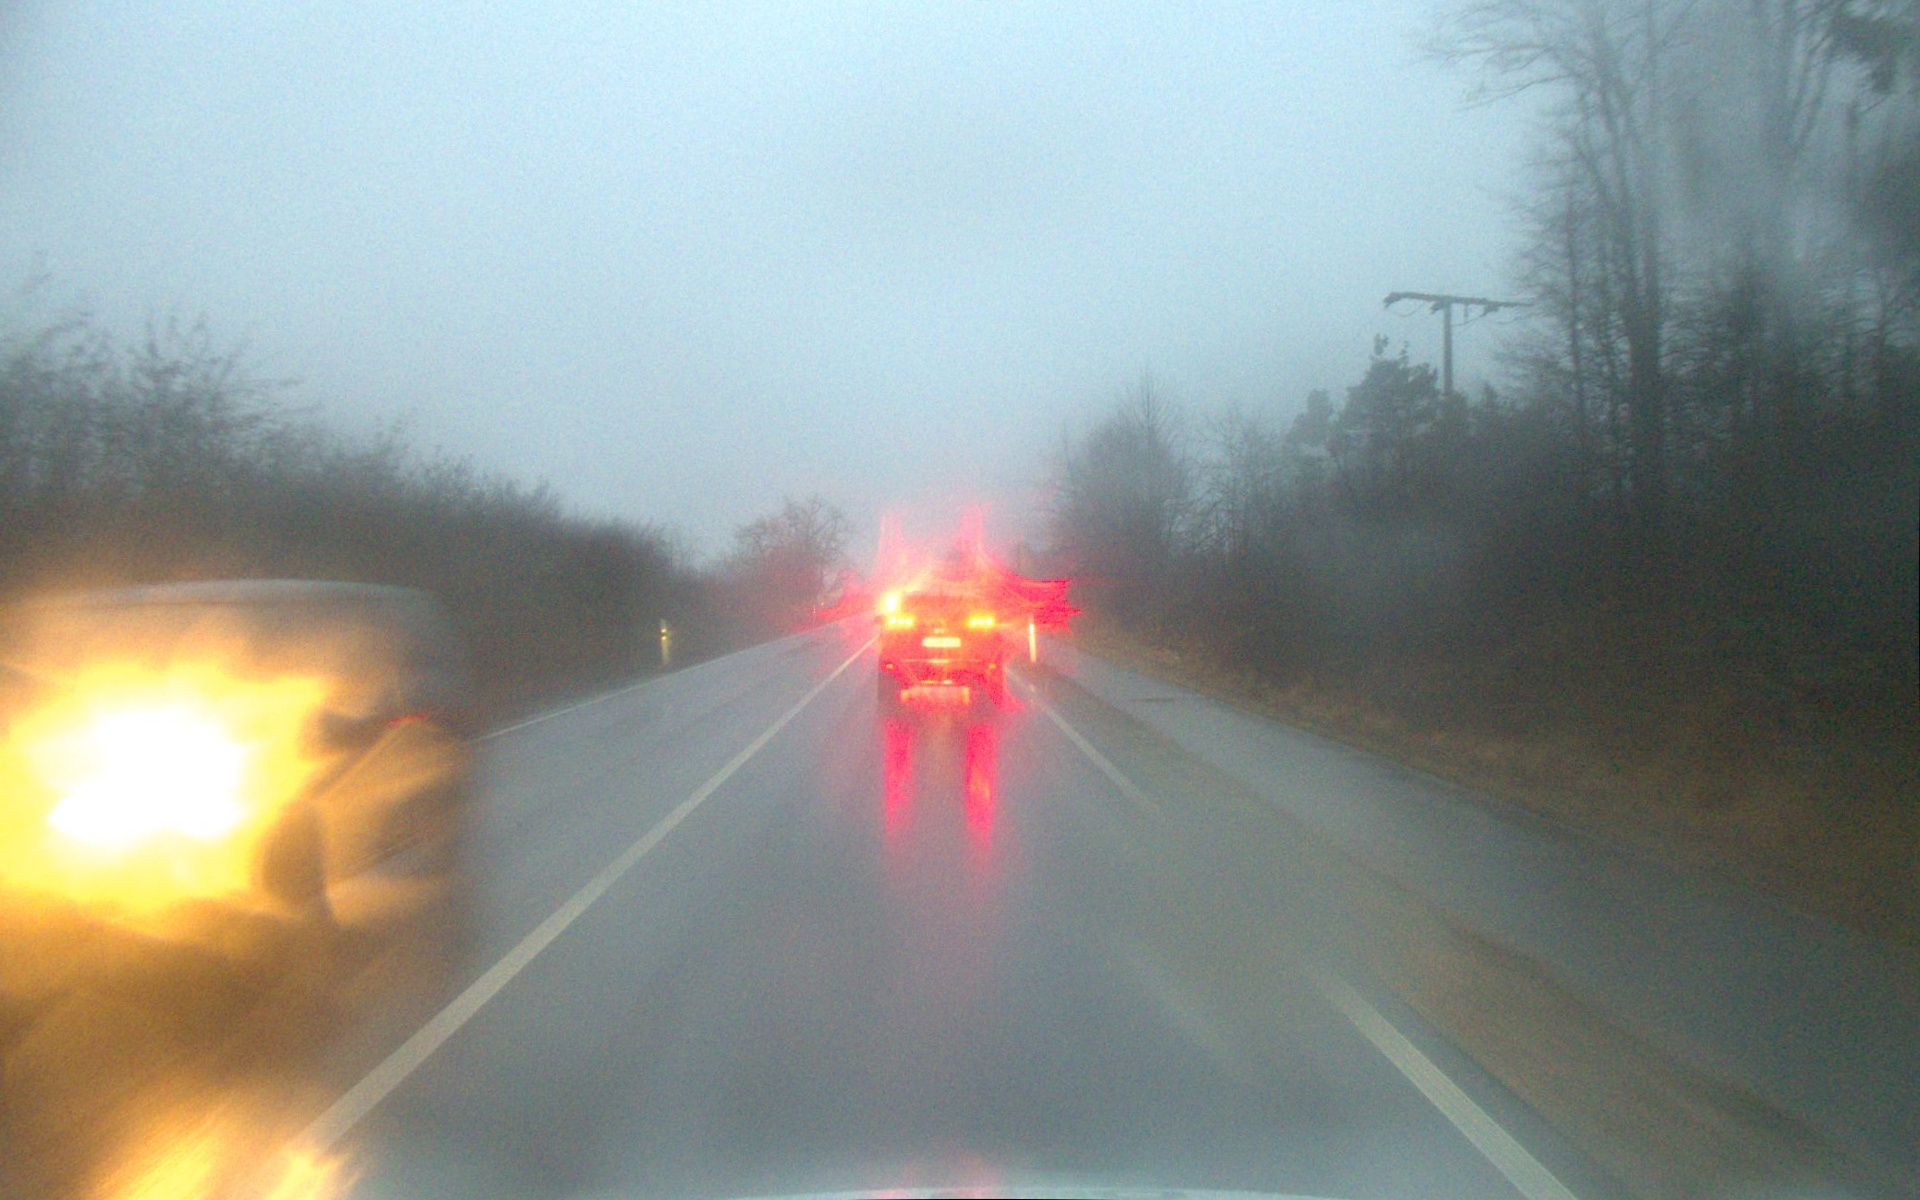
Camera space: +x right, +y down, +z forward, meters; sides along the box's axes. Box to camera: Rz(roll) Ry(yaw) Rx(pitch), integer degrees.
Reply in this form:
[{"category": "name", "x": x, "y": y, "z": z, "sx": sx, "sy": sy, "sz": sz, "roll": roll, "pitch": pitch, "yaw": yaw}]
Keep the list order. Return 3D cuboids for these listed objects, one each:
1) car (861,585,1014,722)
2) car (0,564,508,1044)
[{"category": "car", "x": -0.350, "y": 0.722, "z": 24.949, "sx": 2.077, "sy": 1.852, "sz": 4.979, "roll": 0, "pitch": 0, "yaw": -1}, {"category": "car", "x": -3.498, "y": 0.725, "z": 7.713, "sx": 1.731, "sy": 1.626, "sz": 3.998, "roll": -2, "pitch": 0, "yaw": -2}]
